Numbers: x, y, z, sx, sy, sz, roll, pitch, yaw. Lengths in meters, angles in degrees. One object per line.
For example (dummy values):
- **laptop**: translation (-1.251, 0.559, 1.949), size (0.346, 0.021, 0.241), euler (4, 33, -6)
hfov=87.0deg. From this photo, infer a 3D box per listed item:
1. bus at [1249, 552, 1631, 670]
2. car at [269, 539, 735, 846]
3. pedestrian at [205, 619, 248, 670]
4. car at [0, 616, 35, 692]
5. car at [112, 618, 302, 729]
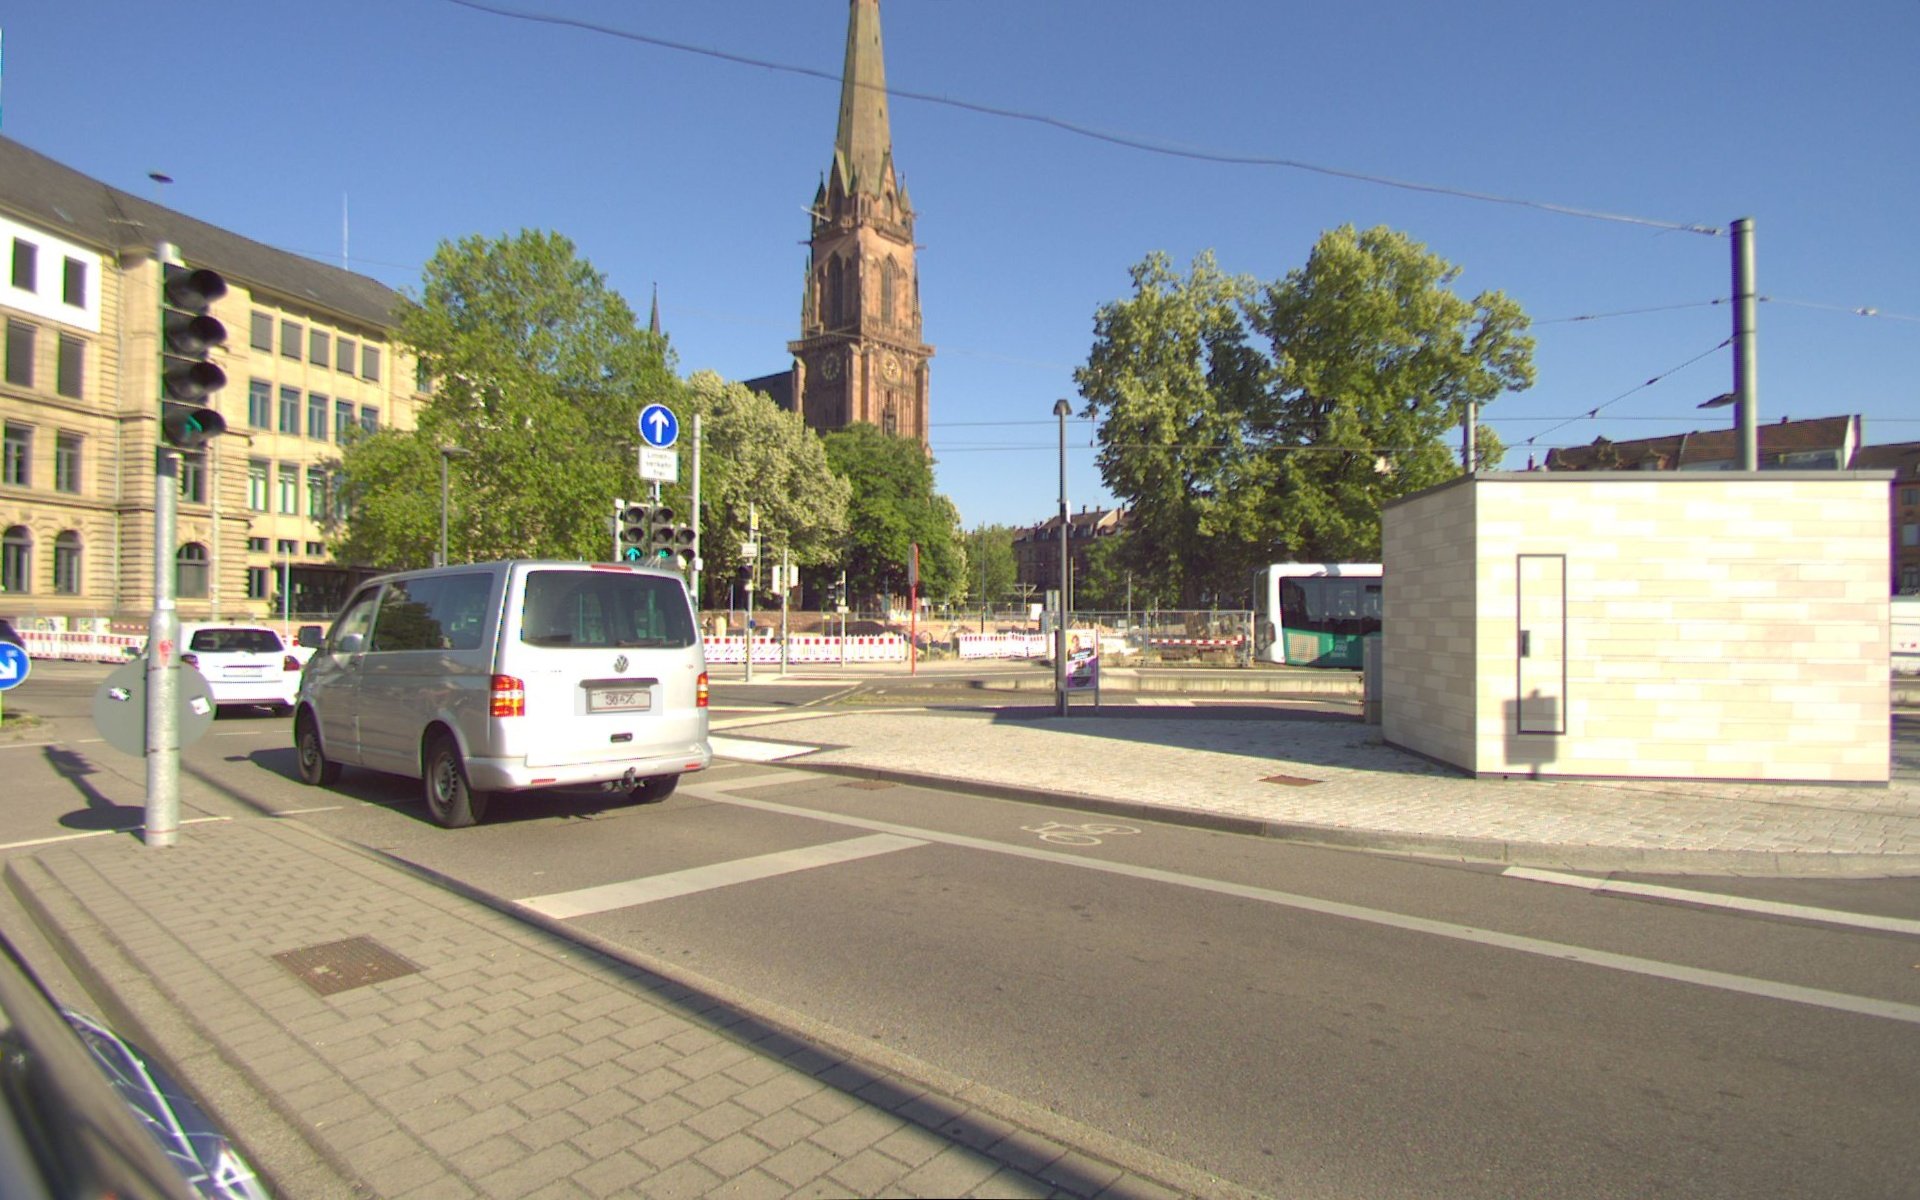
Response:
- **bus**: translation (13.470, 0.302, 29.153), size (9.528, 3.159, 2.657), euler (0, 0, 7)
- **car**: translation (-4.153, 0.672, 8.762), size (4.704, 1.960, 1.888), euler (-1, -4, 42)
- **pedestrian**: translation (-25.432, 1.535, 35.096), size (0.886, 1.710, 0.712), euler (3, -3, -9)
- **car**: translation (-23.873, 1.217, 23.506), size (4.500, 1.719, 1.754), euler (0, -3, 23)
- **car**: translation (-12.178, 1.093, 16.288), size (3.978, 1.572, 1.676), euler (-1, -2, 42)
